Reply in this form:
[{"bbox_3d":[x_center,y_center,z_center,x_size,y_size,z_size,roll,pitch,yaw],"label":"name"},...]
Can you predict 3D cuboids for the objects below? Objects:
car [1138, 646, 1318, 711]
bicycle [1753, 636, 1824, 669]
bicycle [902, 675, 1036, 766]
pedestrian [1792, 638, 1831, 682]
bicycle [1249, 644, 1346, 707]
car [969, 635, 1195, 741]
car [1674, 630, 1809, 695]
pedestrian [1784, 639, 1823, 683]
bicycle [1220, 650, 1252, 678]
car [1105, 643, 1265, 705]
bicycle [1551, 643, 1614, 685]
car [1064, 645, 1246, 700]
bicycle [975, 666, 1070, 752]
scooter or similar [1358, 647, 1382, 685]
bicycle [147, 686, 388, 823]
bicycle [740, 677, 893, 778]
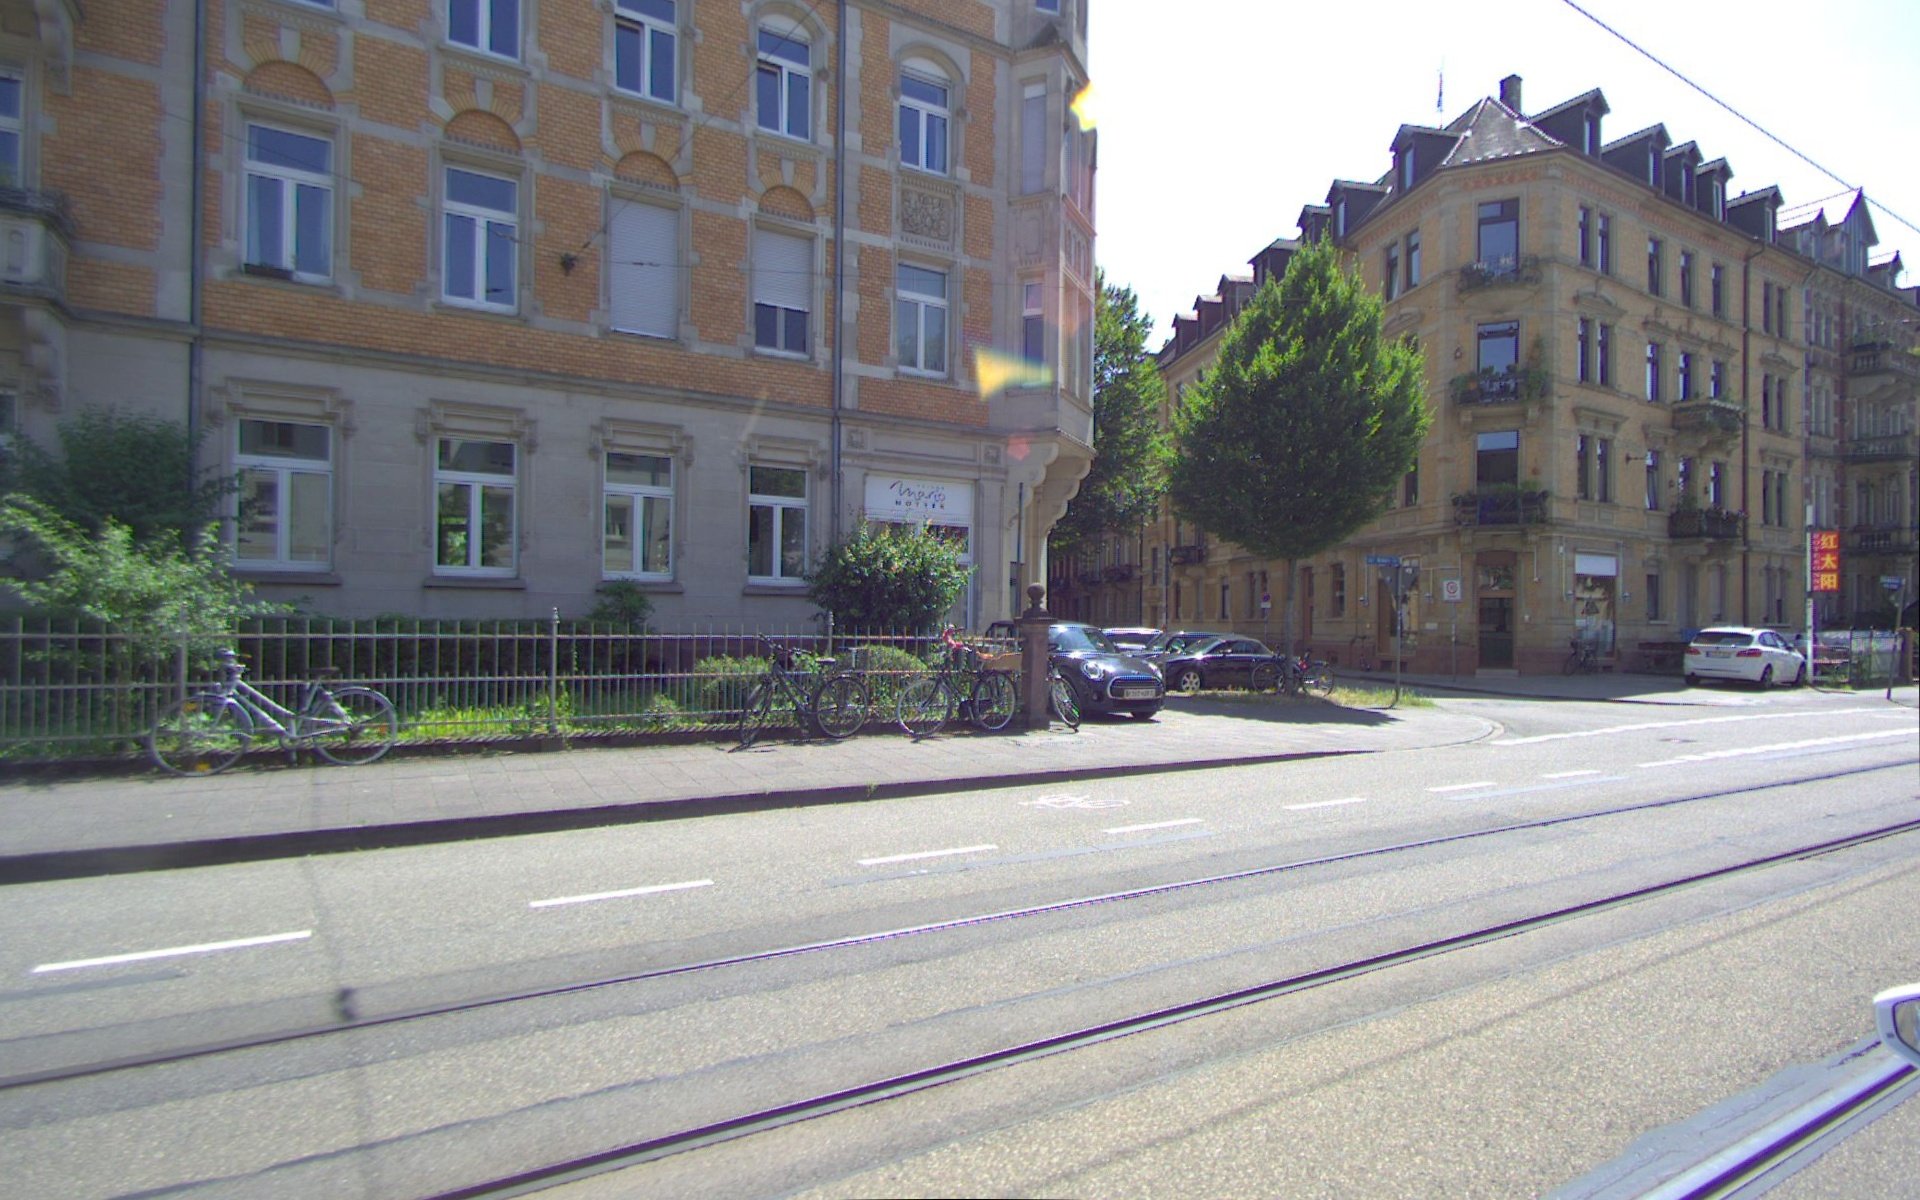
[{"bbox_3d":[6.184,1.801,23.335,3.705,1.356,1.628,2,-3,-10],"label":"car"},{"bbox_3d":[26.420,1.661,32.059,0.467,1.016,1.699,1,-2,-27],"label":"bicycle"},{"bbox_3d":[0.130,1.460,12.385,1.692,0.996,0.436,1,-2,-33],"label":"bicycle"},{"bbox_3d":[26.054,1.841,30.744,0.704,1.315,0.705,0,-3,-35],"label":"pedestrian"},{"bbox_3d":[6.957,1.555,20.735,1.814,1.244,0.502,2,-2,-3],"label":"bicycle"},{"bbox_3d":[1.815,1.310,16.006,1.693,1.447,3.743,2,-2,-30],"label":"car"},{"bbox_3d":[21.254,1.634,27.268,4.062,1.621,1.853,1,-1,-36],"label":"car"},{"bbox_3d":[25.444,1.837,30.304,0.704,1.315,0.705,0,-3,-35],"label":"pedestrian"},{"bbox_3d":[12.627,2.920,46.079,0.628,1.244,2.064,-1,-2,-8],"label":"bicycle"},{"bbox_3d":[5.800,1.894,26.036,3.705,1.458,1.628,2,-2,-10],"label":"car"},{"bbox_3d":[18.849,1.916,30.391,2.117,1.203,0.636,1,-2,-28],"label":"bicycle"},{"bbox_3d":[5.489,2.039,28.444,4.739,1.383,1.743,2,-3,-11],"label":"car"},{"bbox_3d":[0.835,1.469,13.917,0.544,1.050,1.700,0,-2,-26],"label":"bicycle"},{"bbox_3d":[14.286,2.290,35.022,0.486,1.290,1.283,-1,-2,11],"label":"scooter or similar"},{"bbox_3d":[-5.990,1.305,8.785,1.692,1.000,0.493,1,2,-33],"label":"bicycle"},{"bbox_3d":[-1.601,1.408,11.348,1.692,0.996,0.436,1,-2,-33],"label":"bicycle"}]
